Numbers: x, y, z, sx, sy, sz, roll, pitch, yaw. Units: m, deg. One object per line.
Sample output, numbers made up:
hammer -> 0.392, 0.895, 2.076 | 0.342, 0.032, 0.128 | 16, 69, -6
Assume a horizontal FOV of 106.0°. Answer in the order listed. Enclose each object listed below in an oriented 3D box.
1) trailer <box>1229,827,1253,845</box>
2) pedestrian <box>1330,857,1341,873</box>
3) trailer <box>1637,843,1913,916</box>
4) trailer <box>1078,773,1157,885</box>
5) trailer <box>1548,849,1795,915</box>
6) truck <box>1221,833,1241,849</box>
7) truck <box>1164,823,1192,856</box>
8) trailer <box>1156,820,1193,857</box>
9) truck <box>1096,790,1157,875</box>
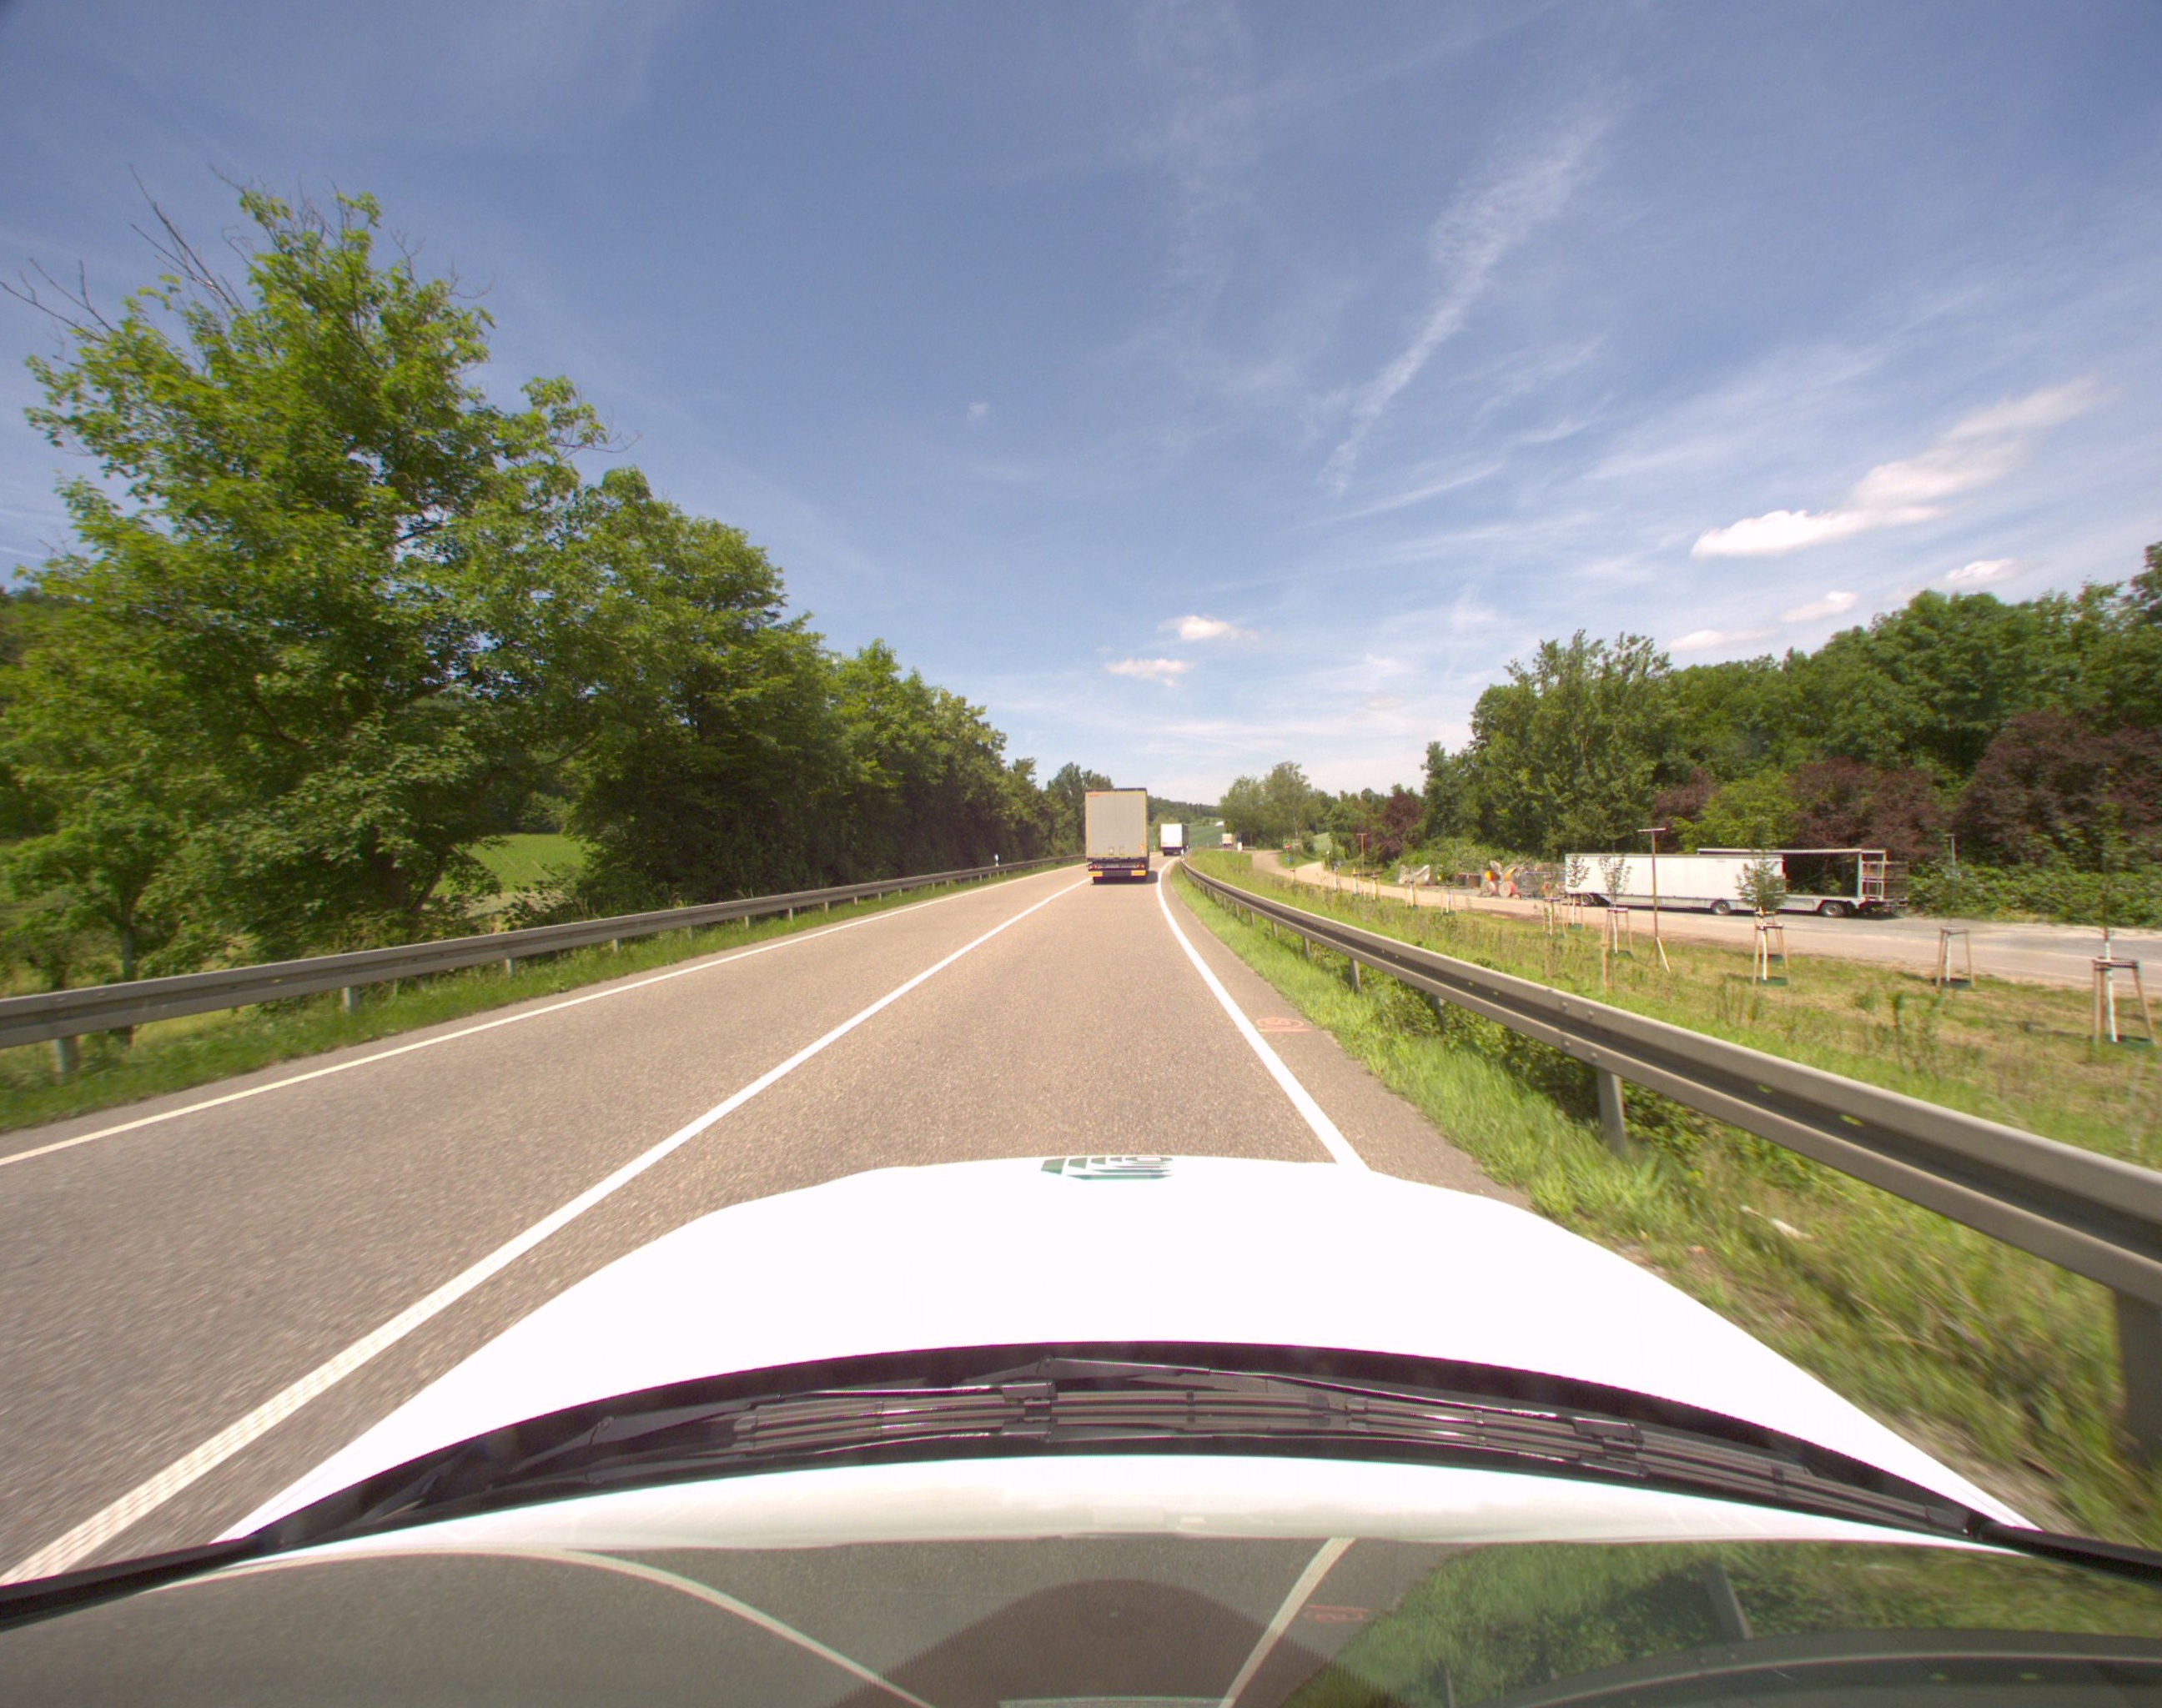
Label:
trailer -> 40.799, -4.423, 207.258 | 3.616, 4.263, 12.260 | -2, 0, 22
pedestrian -> 29.719, 1.316, 95.001 | 0.881, 1.810, 0.960 | -4, 0, 2
trailer -> 38.369, 1.237, 45.955 | 2.732, 3.606, 11.797 | -1, 0, -25
trailer -> 2.116, -1.088, 40.041 | 3.103, 4.499, 13.908 | -1, 1, 5
trailer -> 34.044, 1.433, 47.885 | 2.733, 3.327, 11.790 | -1, 1, -27
truck -> 34.419, -2.947, 186.322 | 3.198, 3.365, 11.927 | -2, 0, 17
truck -> 13.273, -1.866, 110.878 | 3.345, 4.317, 6.758 | -1, -1, 9
trailer -> 12.134, -1.874, 104.495 | 3.343, 4.317, 13.908 | -1, 0, 11
truck -> 2.736, -1.172, 46.759 | 3.103, 4.494, 6.822 | -1, 0, 5
